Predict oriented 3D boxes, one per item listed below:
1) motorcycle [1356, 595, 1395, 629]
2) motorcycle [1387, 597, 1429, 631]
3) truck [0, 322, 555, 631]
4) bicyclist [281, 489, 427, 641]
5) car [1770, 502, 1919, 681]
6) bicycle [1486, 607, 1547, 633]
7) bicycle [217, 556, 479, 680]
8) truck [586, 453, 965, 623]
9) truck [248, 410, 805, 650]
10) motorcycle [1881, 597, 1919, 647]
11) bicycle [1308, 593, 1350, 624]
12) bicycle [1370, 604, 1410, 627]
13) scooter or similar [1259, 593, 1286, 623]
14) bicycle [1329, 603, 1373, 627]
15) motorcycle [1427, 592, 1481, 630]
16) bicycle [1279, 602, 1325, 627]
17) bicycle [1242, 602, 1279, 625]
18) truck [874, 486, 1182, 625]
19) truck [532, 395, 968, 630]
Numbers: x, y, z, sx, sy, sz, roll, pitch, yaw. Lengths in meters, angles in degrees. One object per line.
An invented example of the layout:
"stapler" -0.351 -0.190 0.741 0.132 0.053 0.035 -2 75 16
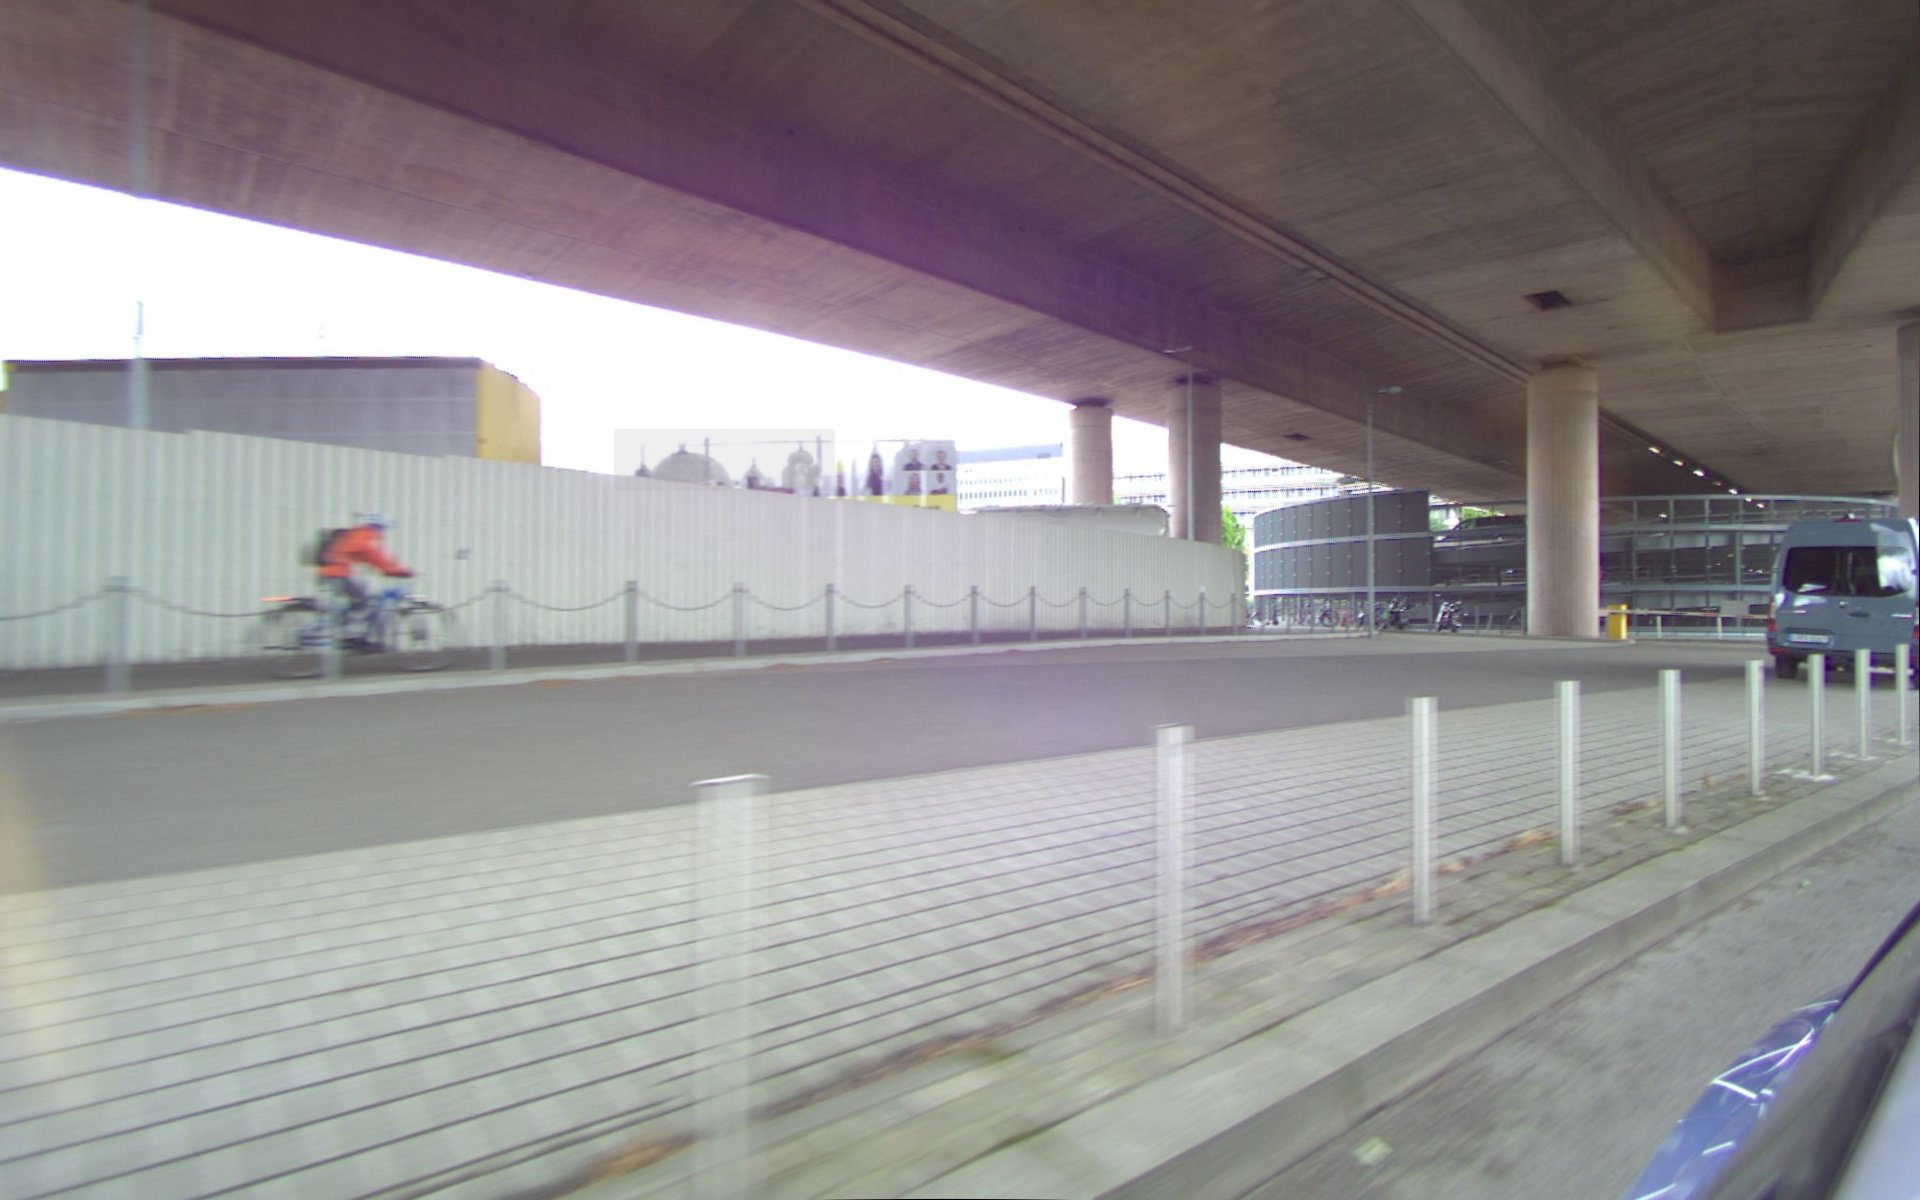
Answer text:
"motorcycle" 15.675 0.453 38.142 0.571 1.120 2.292 0 -4 43
"motorcycle" 16.467 0.525 37.175 2.290 1.120 0.543 6 -4 -44
"truck" -12.207 -1.911 16.933 9.535 4.499 3.150 1 1 -3
"bicyclist" -6.079 -0.340 10.166 0.795 1.423 1.051 2 1 41
"car" 15.990 -0.110 17.433 5.965 2.646 1.998 1 0 -40
"bicycle" 21.027 0.752 38.273 2.008 0.938 0.413 0 -2 38
"bicycle" -6.088 0.156 10.182 0.801 1.111 2.100 2 1 40
"truck" -4.838 -1.630 27.789 9.736 4.211 2.816 1 0 -2
"truck" -8.266 -1.311 20.304 9.871 4.236 2.899 1 1 -1
"motorcycle" 27.031 0.620 28.720 0.791 1.384 2.108 1 0 28
"bicycle" 14.671 0.371 40.296 0.608 1.120 2.330 4 -3 -5
"bicycle" 21.227 0.759 49.982 1.777 1.093 0.431 0 -2 36
"scooter or similar" 13.625 0.365 44.140 0.534 1.234 1.680 3 -3 -2
"bicycle" 16.500 0.621 42.738 1.729 0.995 0.430 0 -2 45
"motorcycle" 17.584 0.406 35.974 2.491 1.251 0.783 3 -1 -41
"bicycle" 15.029 0.629 44.526 0.388 1.037 2.061 2 -2 -38
"bicycle" 13.789 0.629 46.444 0.428 1.037 1.735 2 -2 -34
"truck" 2.210 -1.483 35.004 10.098 4.357 3.014 1 1 -1
"truck" -4.713 -1.942 24.098 9.535 4.986 3.150 1 0 -3
